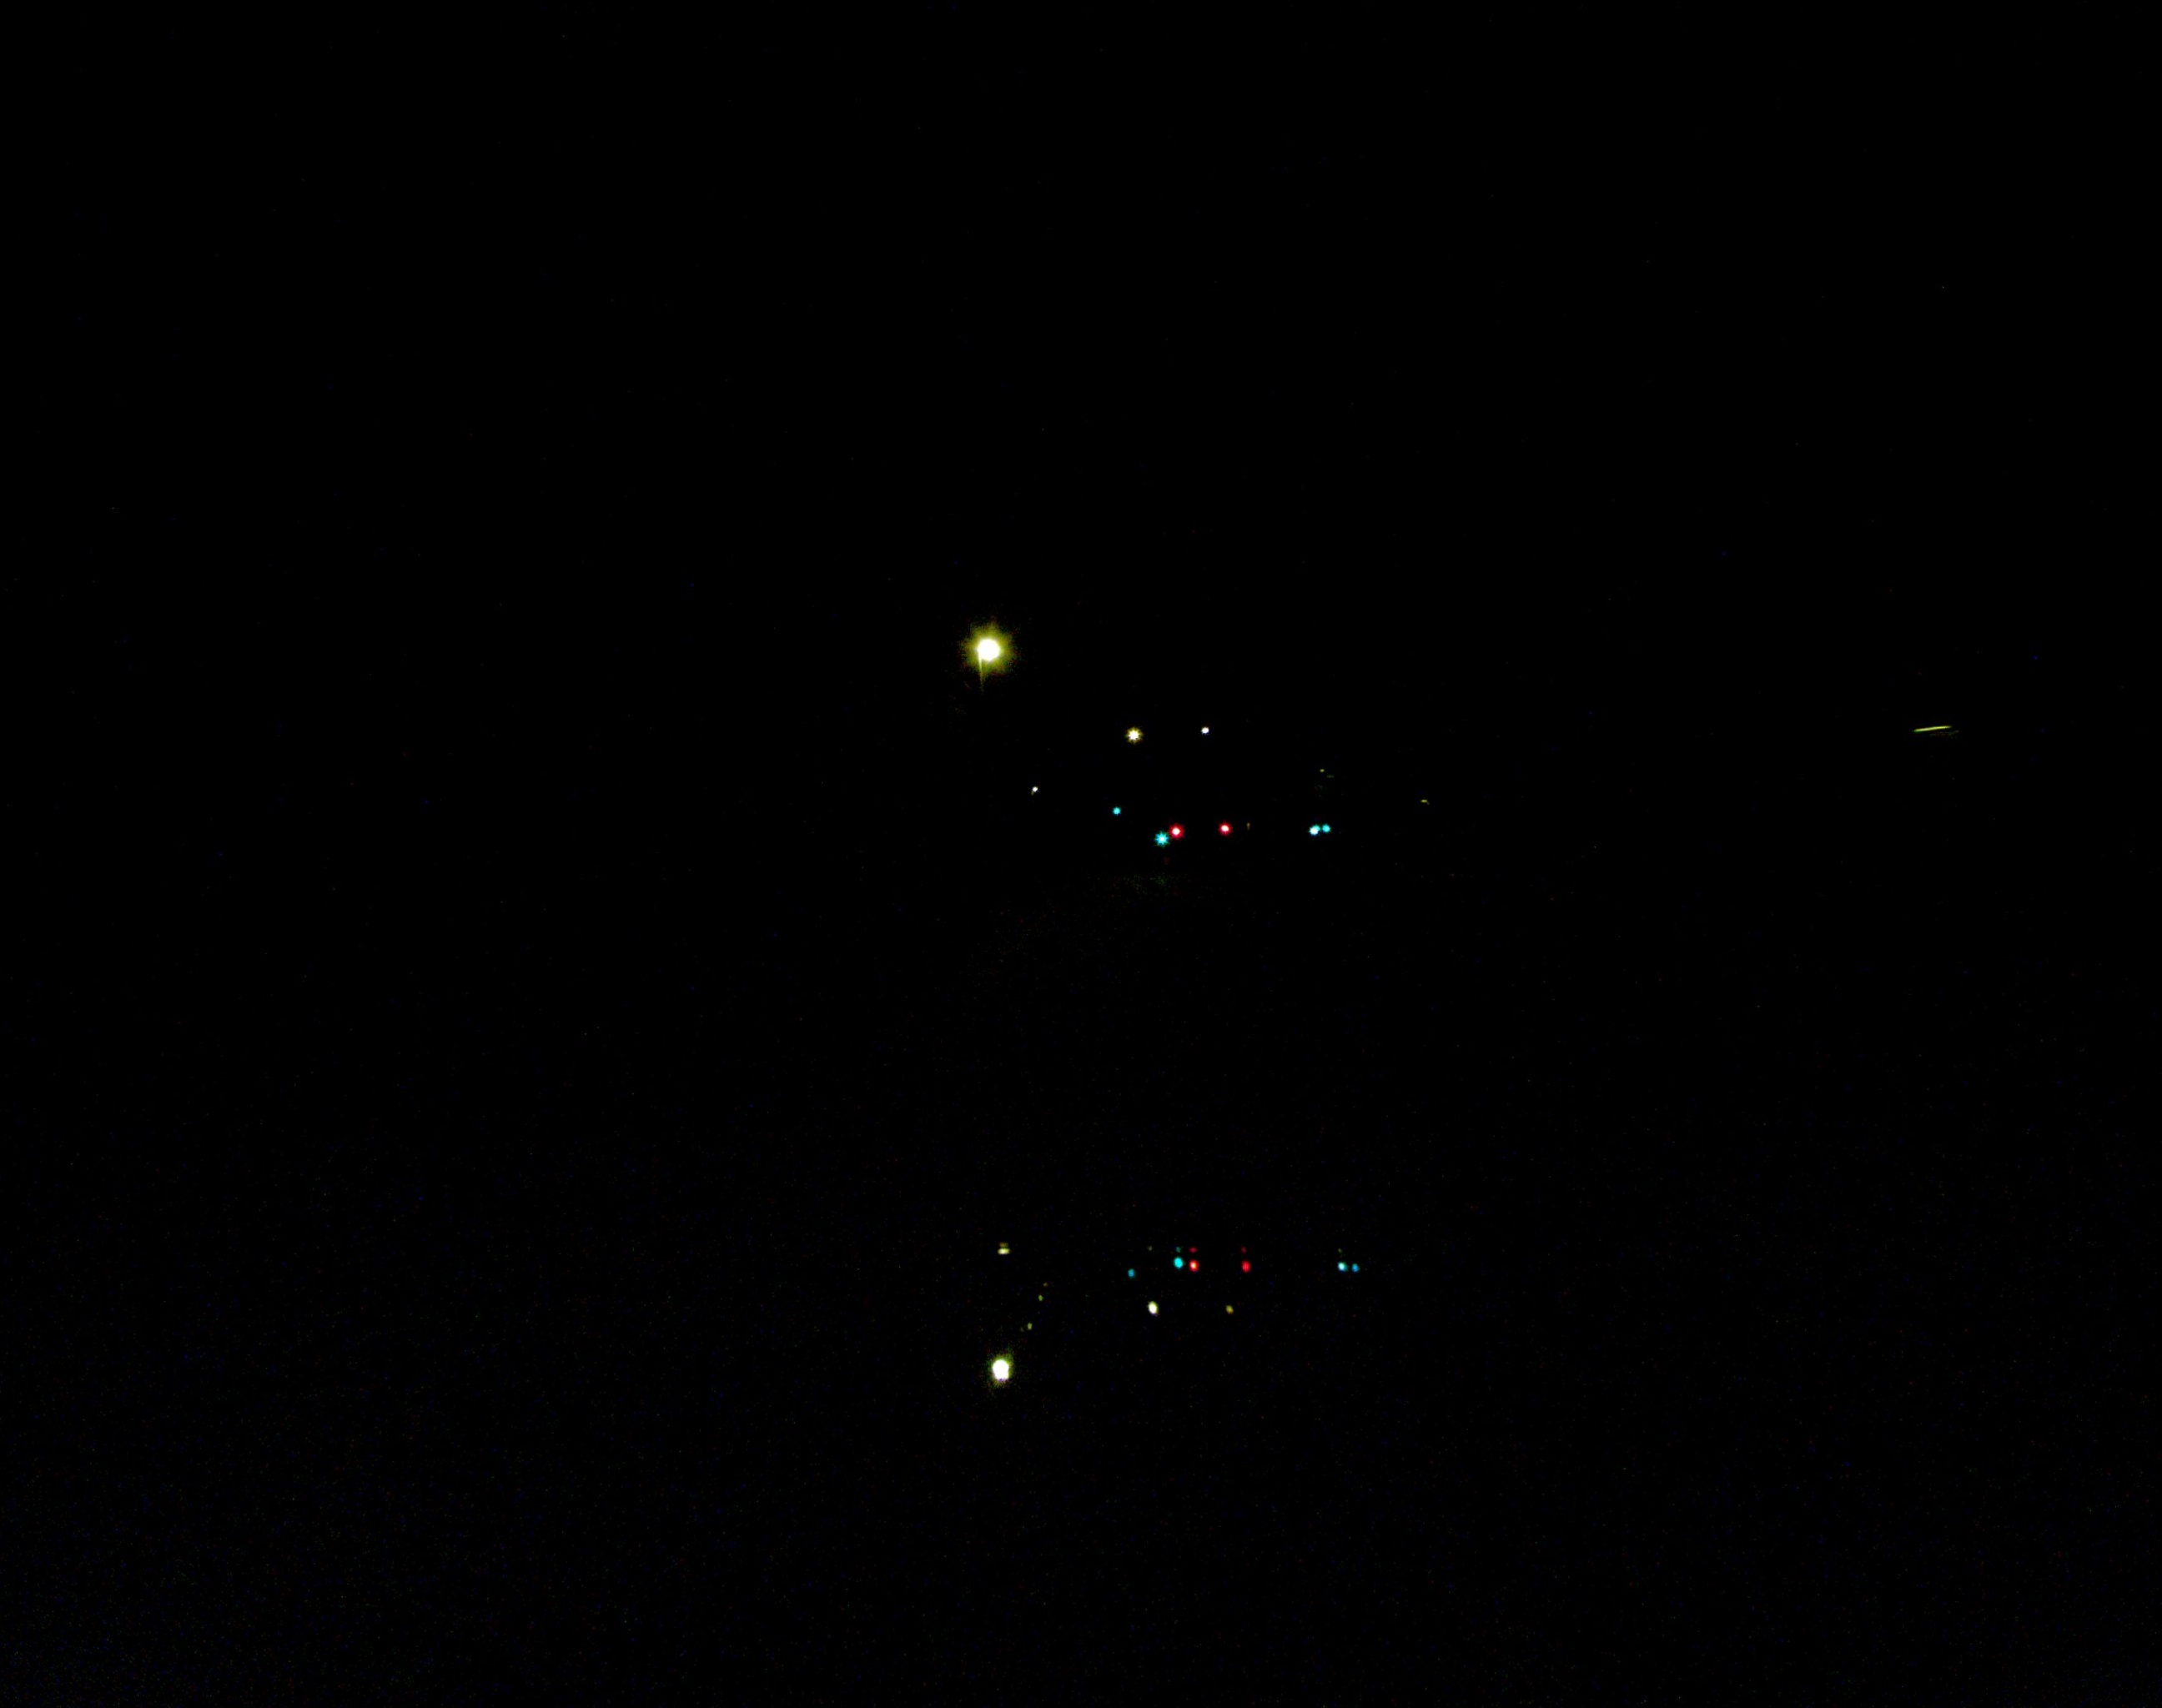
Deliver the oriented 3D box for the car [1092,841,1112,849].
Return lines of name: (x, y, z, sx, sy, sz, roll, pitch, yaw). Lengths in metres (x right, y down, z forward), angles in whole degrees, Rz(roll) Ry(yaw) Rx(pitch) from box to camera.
car: (4.689, -2.003, 171.601, 4.004, 1.600, 1.753, -6, 4, -30)
